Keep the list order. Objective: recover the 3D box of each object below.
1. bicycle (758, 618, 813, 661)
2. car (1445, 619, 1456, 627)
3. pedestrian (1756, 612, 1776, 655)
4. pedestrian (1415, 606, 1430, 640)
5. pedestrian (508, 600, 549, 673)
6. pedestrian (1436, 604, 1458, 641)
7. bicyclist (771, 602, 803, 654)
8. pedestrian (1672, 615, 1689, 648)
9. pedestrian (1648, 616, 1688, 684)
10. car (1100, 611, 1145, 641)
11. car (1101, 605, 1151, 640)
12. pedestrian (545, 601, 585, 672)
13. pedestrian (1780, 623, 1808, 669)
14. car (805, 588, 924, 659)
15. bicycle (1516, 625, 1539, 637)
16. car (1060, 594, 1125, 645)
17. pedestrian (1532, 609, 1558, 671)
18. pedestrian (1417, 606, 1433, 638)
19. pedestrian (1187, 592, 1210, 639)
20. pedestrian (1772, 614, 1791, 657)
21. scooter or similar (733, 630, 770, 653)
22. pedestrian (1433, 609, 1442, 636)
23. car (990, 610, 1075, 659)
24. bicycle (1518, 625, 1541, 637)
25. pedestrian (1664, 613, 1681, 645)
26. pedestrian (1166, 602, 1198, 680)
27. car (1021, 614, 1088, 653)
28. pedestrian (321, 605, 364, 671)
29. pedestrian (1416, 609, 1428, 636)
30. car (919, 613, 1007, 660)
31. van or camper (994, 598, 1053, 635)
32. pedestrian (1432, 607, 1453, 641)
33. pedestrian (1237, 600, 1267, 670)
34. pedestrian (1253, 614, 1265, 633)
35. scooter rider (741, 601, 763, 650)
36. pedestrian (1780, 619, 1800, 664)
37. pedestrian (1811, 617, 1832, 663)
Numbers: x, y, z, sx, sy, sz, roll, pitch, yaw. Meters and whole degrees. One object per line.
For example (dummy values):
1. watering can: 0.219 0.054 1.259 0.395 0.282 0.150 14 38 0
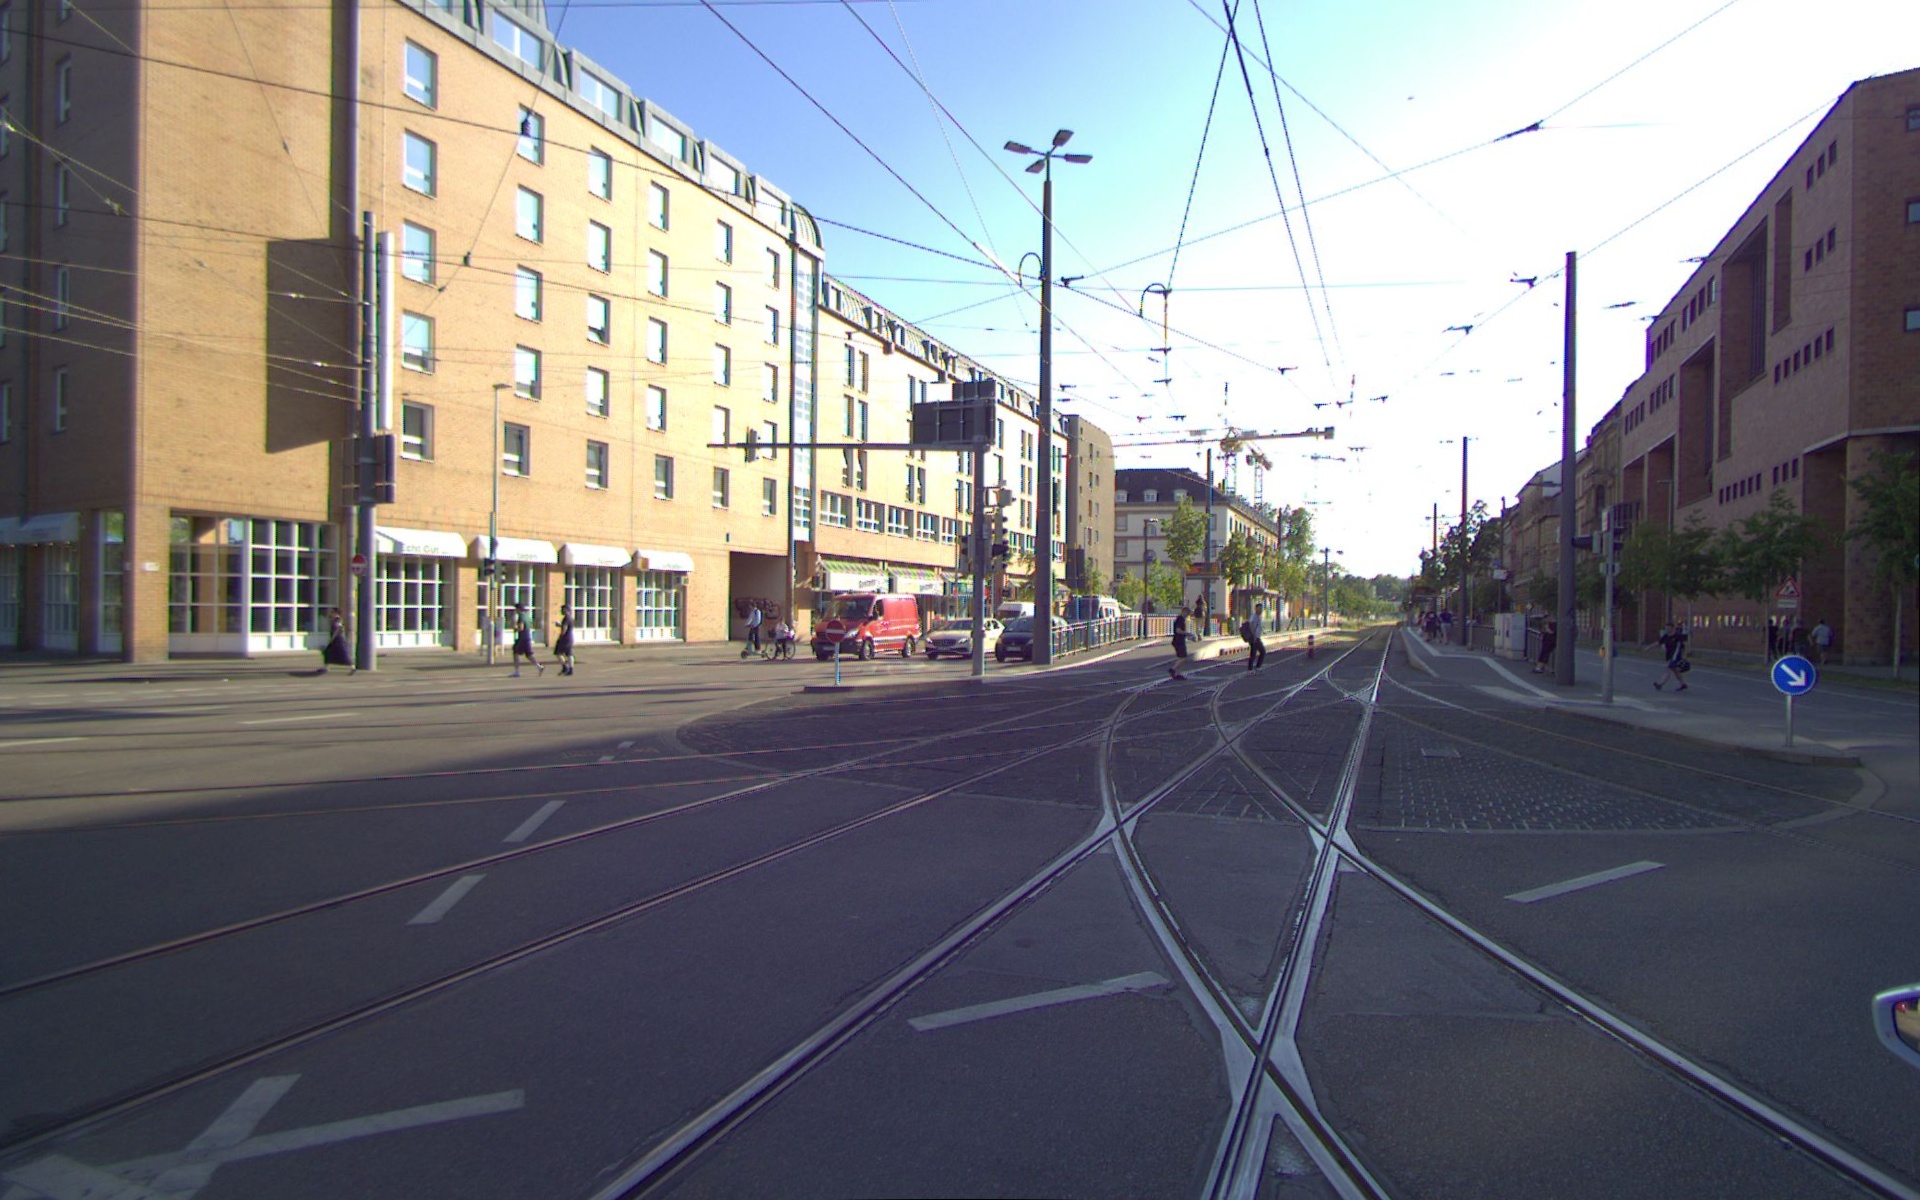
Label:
1. bicycle: -6.159 1.379 35.592 0.915 1.461 2.102 1 -1 23
2. car: 92.140 4.273 188.627 1.821 1.477 4.152 0 0 25
3. pedestrian: 33.424 1.372 41.645 0.528 1.779 0.464 1 0 23
4. pedestrian: 23.444 1.179 50.941 0.646 1.694 0.672 0 0 22
5. pedestrian: -10.500 0.877 24.422 0.771 1.740 0.634 1 -1 -38
6. pedestrian: 22.950 1.049 47.382 0.873 1.694 0.672 0 0 22
7. bicyclist: -6.137 0.990 35.700 0.802 1.810 0.815 1 -1 23
8. pedestrian: 37.856 1.660 52.766 0.561 1.736 0.641 1 -1 19
9. pedestrian: 16.670 1.154 23.661 0.703 1.559 0.850 0 -1 32
10. car: 11.031 1.746 67.978 1.857 1.892 4.311 0 0 26
11. car: 9.534 1.254 57.534 1.856 1.892 4.313 0 0 23
12. pedestrian: -9.851 0.898 25.060 0.771 1.740 0.634 1 -1 -38
13. pedestrian: 32.688 1.804 39.364 0.690 1.779 0.726 1 0 -41
14. car: -3.291 0.821 35.848 2.045 2.319 5.263 0 -1 22
15. bicycle: 55.563 3.001 98.351 1.795 1.079 0.664 -2 -1 19
16. car: 6.724 0.964 50.544 2.013 2.389 4.918 0 -1 23
17. pedestrian: 14.885 1.008 25.548 0.483 1.559 0.549 0 -1 38
18. pedestrian: 22.285 1.057 48.120 0.671 1.503 0.828 1 0 25
19. pedestrian: 8.702 0.561 36.636 0.667 1.706 0.575 1 0 28
20. pedestrian: 34.306 1.489 41.951 0.528 1.779 0.421 1 0 25
21. scooter or similar: -7.680 1.529 37.049 0.537 0.842 1.232 0 -1 44
22. pedestrian: 30.929 1.460 65.081 0.497 1.755 0.651 1 0 23
23. car: 2.513 1.106 33.764 1.729 1.467 3.999 0 0 22
24. bicycle: 54.351 3.001 95.876 1.795 1.079 0.664 -2 -1 19
25. pedestrian: 37.136 1.503 52.367 0.507 1.626 0.705 1 -1 17
26. pedestrian: 5.020 0.919 22.757 0.612 1.724 0.750 1 0 5
27. car: 4.155 1.402 43.681 1.855 1.553 3.999 0 0 22
28. pedestrian: -15.190 0.928 24.718 0.859 1.574 0.541 1 0 -29
29. pedestrian: 29.960 1.457 65.128 0.708 1.755 0.651 1 0 23
30. car: 0.179 1.267 36.312 1.855 1.553 3.999 0 0 22
31. van or camper: 4.194 1.033 65.421 1.962 2.199 5.609 0 1 25
32. pedestrian: 23.870 1.185 49.736 0.873 1.694 1.095 0 -1 22
33. pedestrian: 7.380 0.869 25.408 0.628 1.740 0.778 1 0 11
34. pedestrian: 19.486 1.520 65.467 0.662 1.205 0.906 1 0 23
35. scooter rider: -7.665 0.927 37.065 0.527 1.778 0.567 0 -1 44
36. pedestrian: 33.425 1.645 40.451 0.529 1.779 0.693 0 0 34
37. pedestrian: 33.666 1.567 39.276 0.529 1.779 0.693 0 0 34
